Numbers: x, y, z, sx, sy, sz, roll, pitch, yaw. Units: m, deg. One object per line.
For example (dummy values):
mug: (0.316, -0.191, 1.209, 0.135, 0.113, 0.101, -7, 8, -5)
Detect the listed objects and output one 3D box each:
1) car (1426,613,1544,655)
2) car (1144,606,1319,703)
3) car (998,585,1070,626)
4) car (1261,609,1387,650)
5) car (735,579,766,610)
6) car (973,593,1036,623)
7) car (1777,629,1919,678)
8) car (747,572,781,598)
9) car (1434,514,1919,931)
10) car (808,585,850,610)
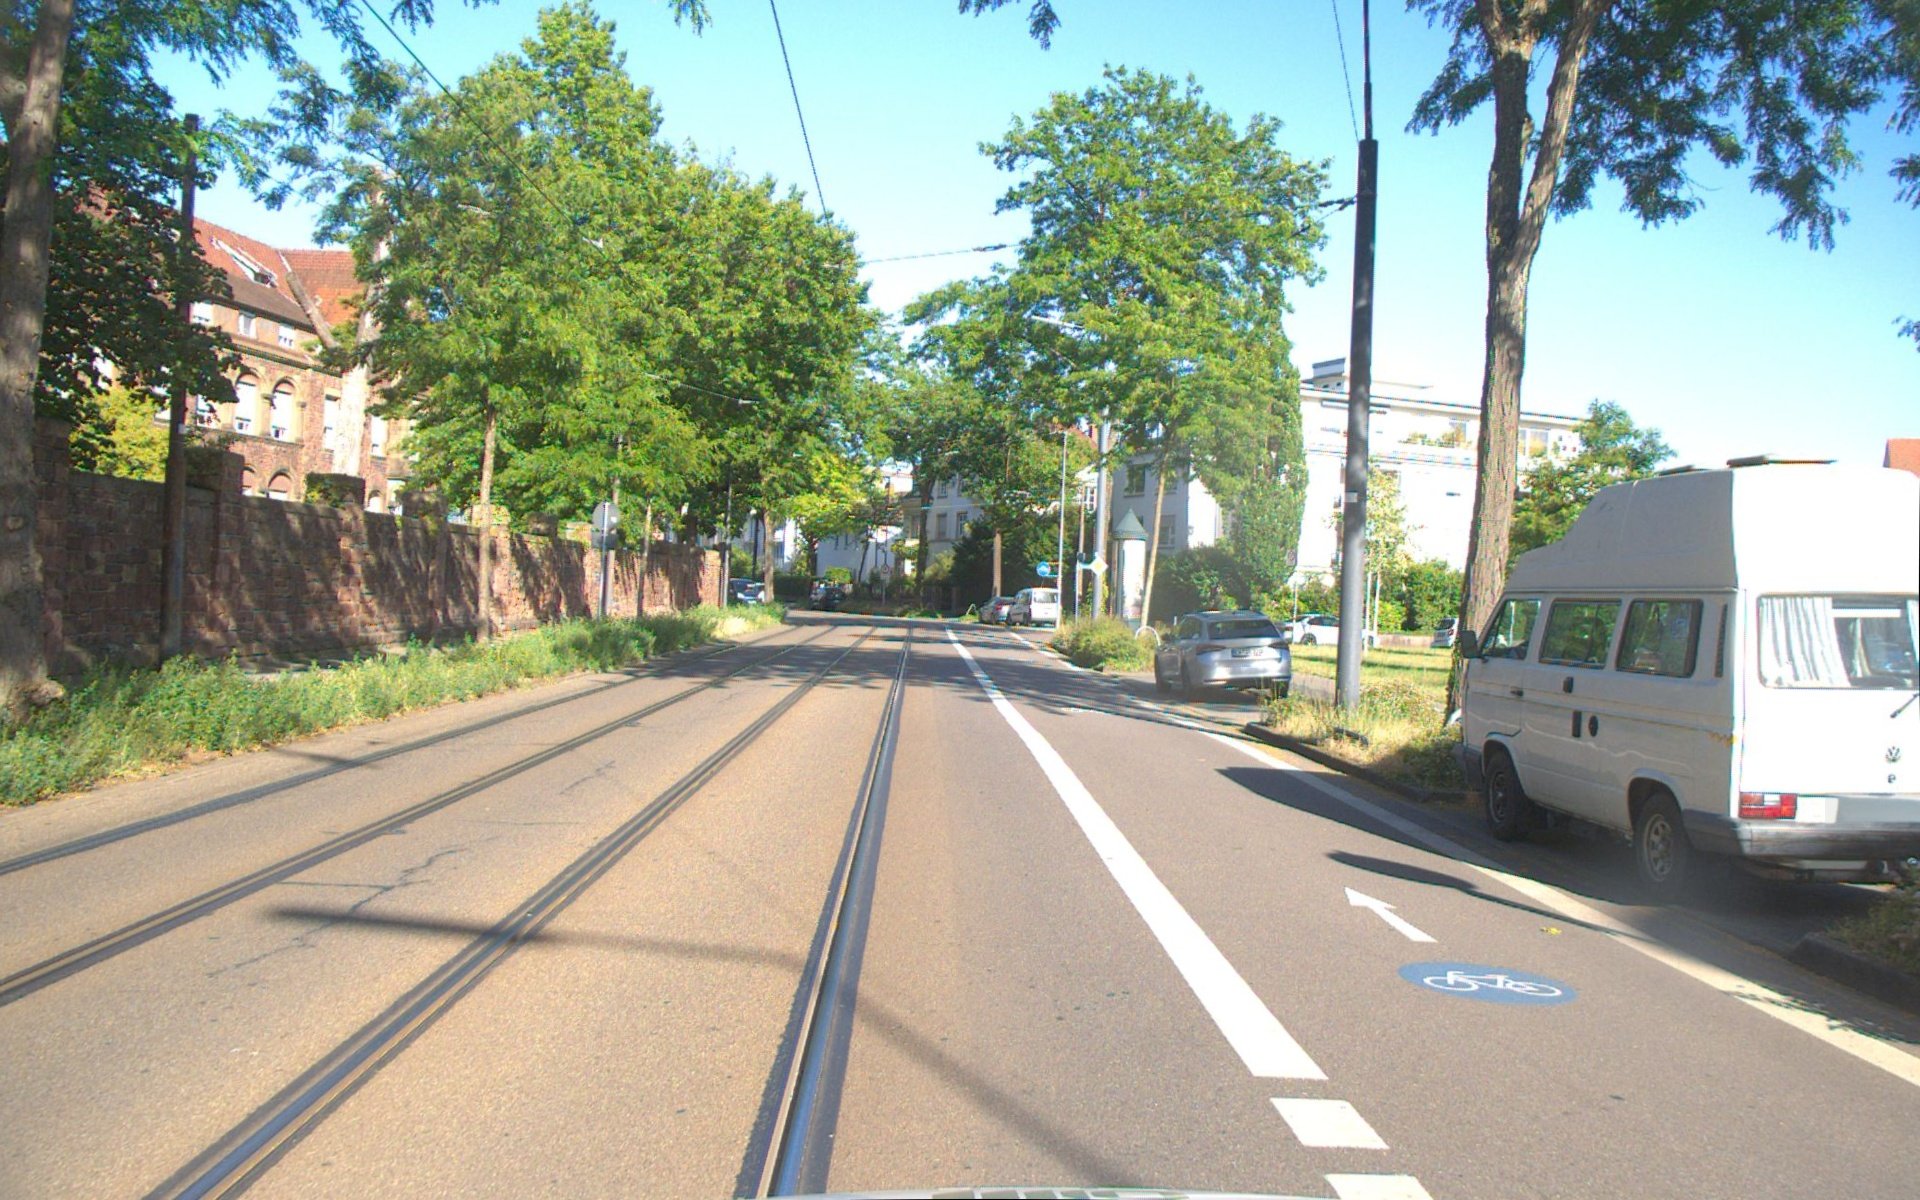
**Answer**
car: (21.162, 1.392, 66.696, 4.207, 1.537, 1.833, 3, -2, -13)
car: (4.661, 0.882, 29.289, 1.961, 1.491, 5.430, -1, 0, -3)
car: (3.509, 0.248, 79.638, 1.990, 1.777, 4.731, 2, 0, -16)
car: (14.195, 1.145, 64.484, 4.443, 1.393, 1.958, 3, 0, -20)
car: (-13.136, -0.349, 103.851, 1.600, 1.823, 4.335, 2, 0, -3)
car: (2.272, 0.389, 85.499, 1.962, 1.448, 4.312, 2, 0, -17)
car: (32.222, 1.897, 59.783, 2.028, 1.496, 4.728, 3, 0, -20)
car: (-13.941, -1.047, 117.598, 1.860, 1.639, 4.213, 3, -2, -14)
car: (4.930, 0.638, 10.970, 1.954, 2.132, 4.714, 2, 0, -3)
car: (-9.322, -0.199, 117.192, 1.778, 1.723, 4.701, -1, 1, -20)
